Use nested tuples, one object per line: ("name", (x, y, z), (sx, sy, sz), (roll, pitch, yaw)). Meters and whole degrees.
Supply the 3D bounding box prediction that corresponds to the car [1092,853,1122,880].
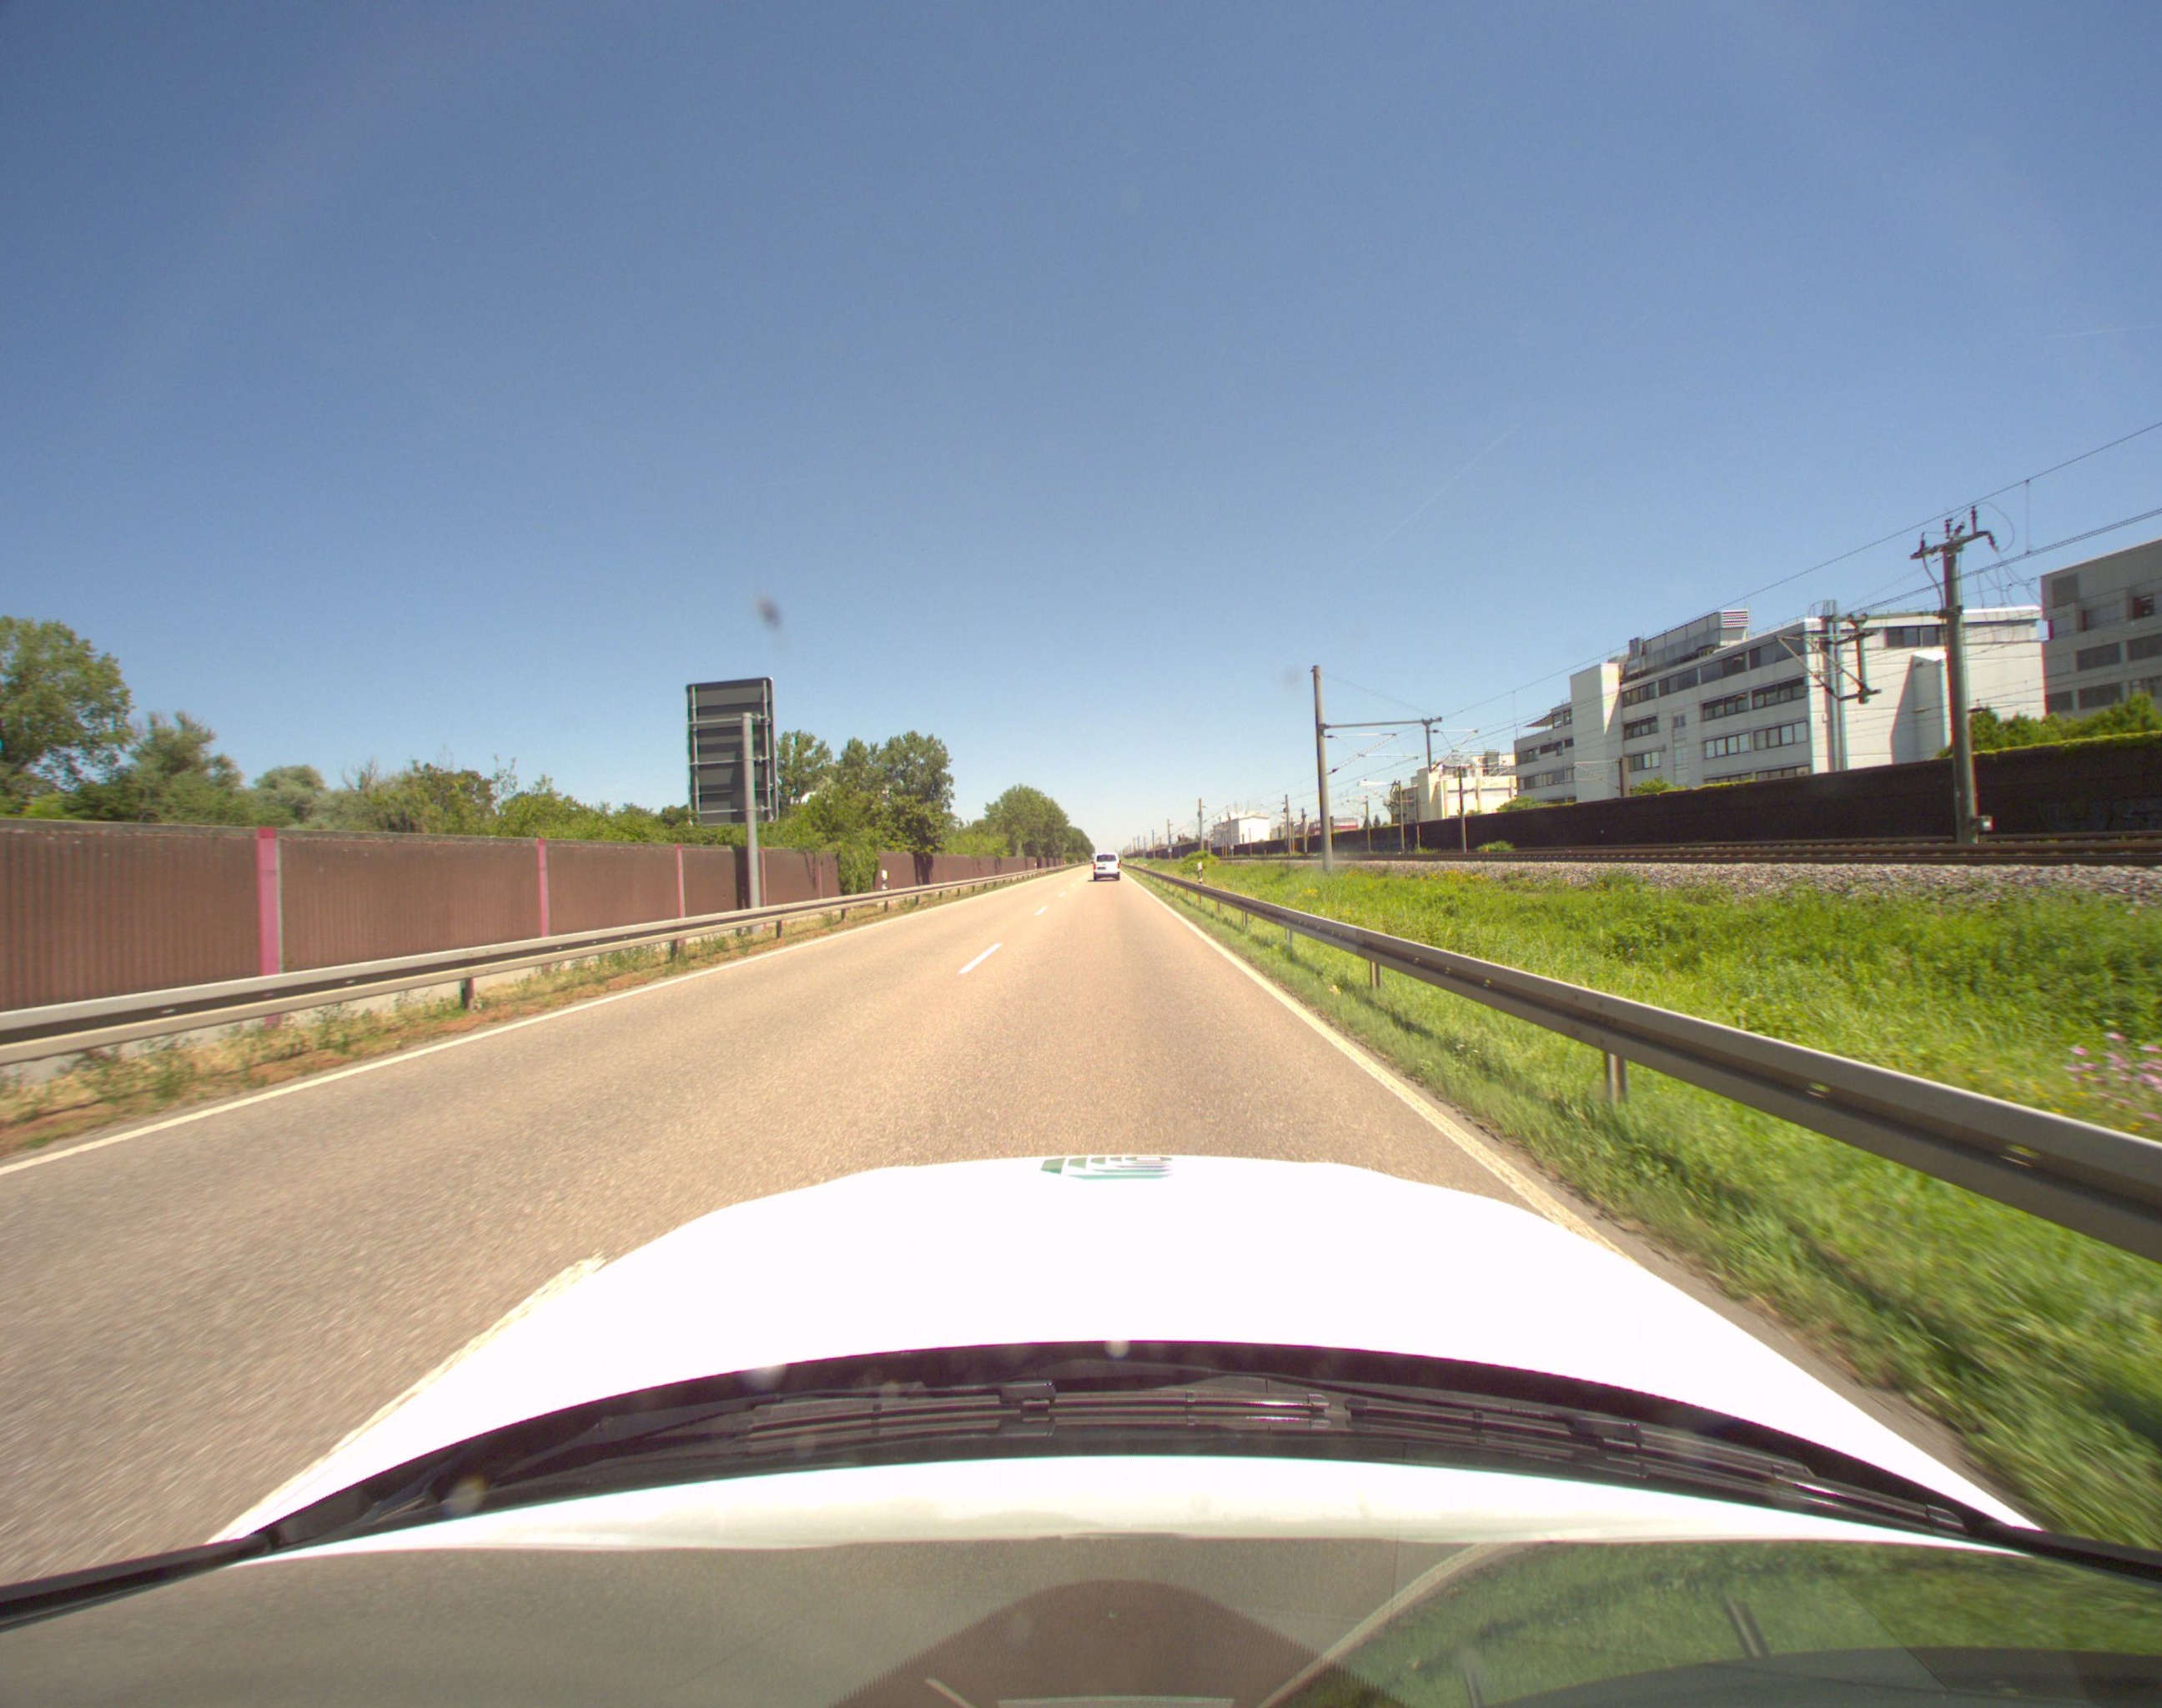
("car", (1.835, 0.878, 57.601), (1.986, 1.850, 4.001), (0, -1, 2))
